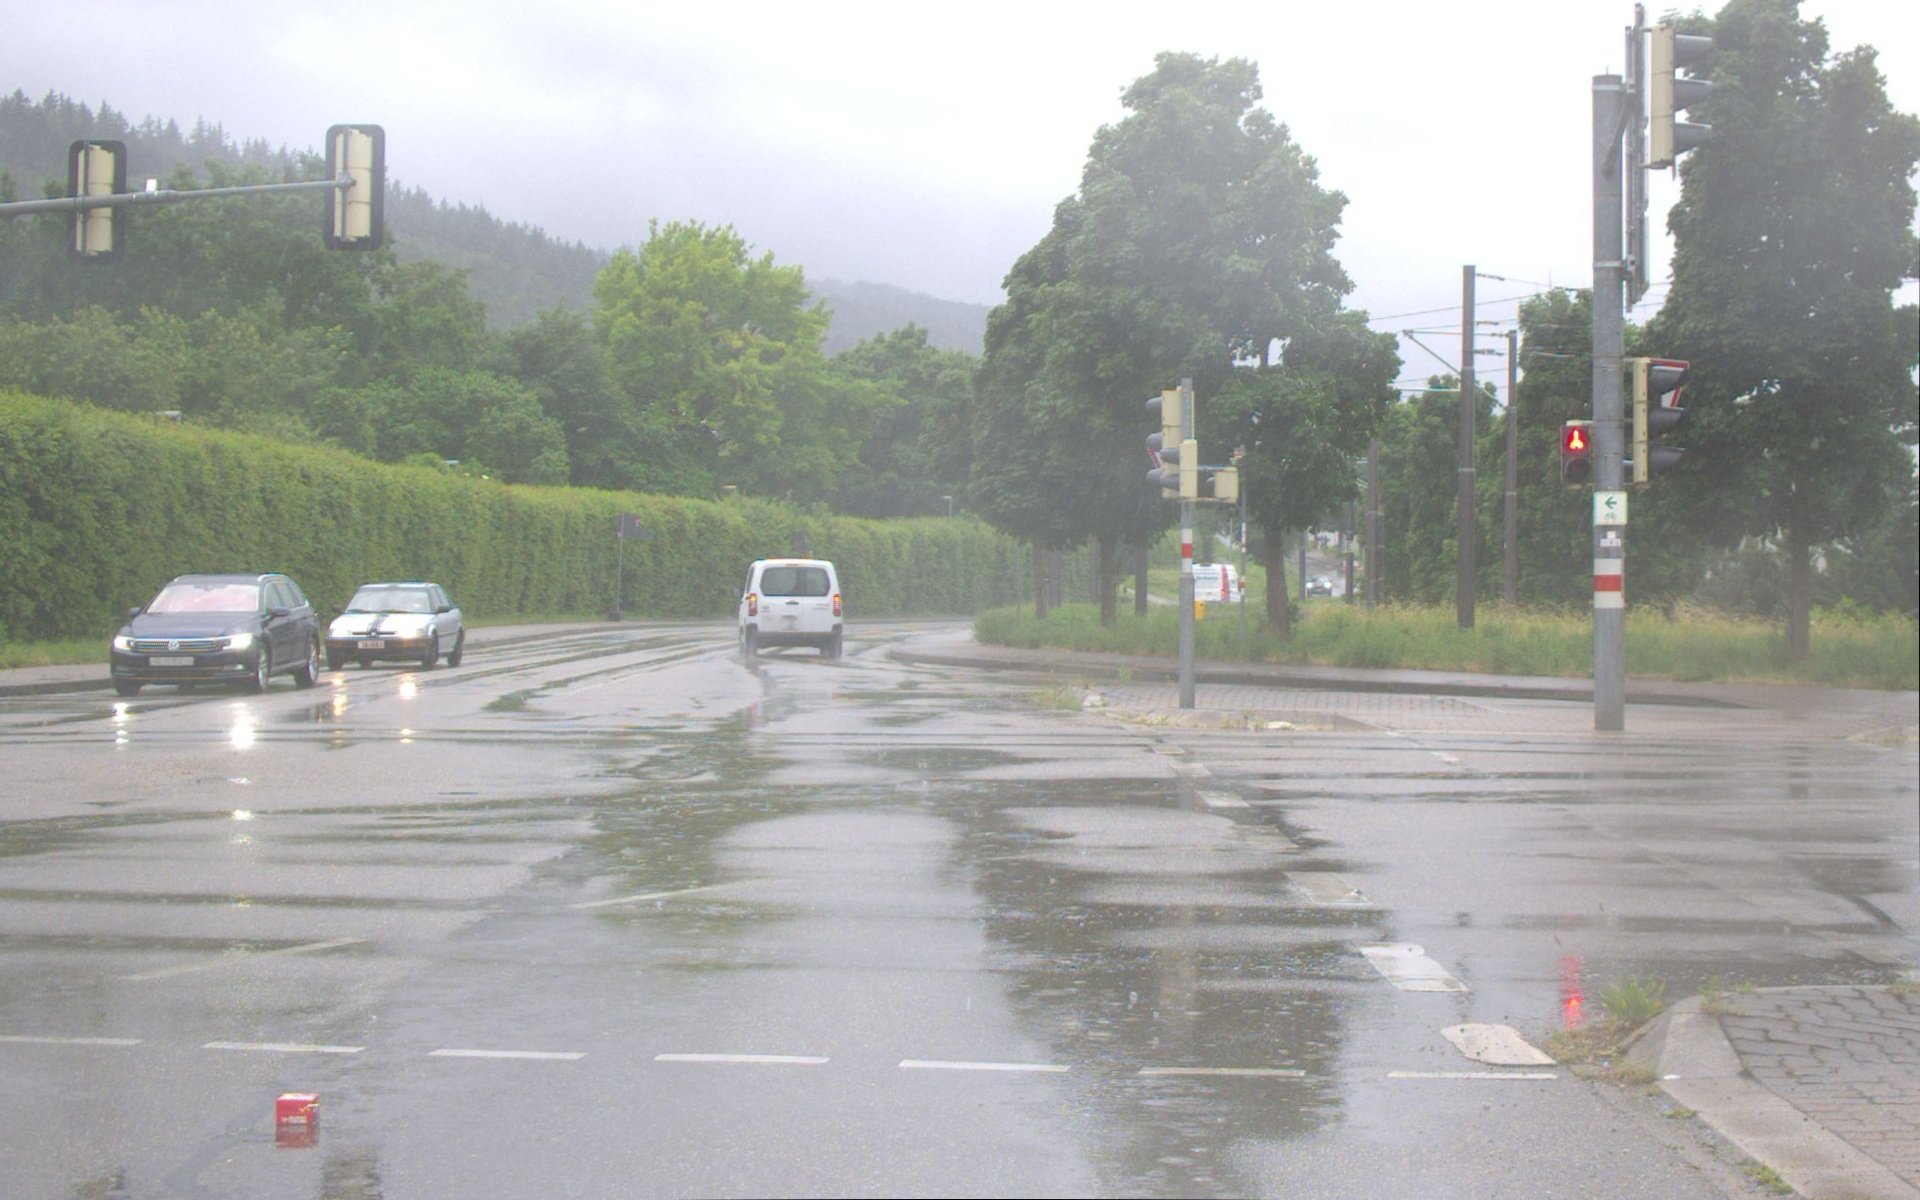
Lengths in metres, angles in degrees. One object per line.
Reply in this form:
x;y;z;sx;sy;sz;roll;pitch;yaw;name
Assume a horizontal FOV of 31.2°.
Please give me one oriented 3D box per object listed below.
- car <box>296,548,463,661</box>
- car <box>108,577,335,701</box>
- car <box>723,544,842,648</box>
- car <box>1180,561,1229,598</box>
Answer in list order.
-9.306;0.042;55.388;2.036;1.702;4.066;1;1;-1;car
-9.278;0.454;43.527;1.709;1.461;4.452;0;1;3;car
-3.364;-0.107;64.452;1.953;1.897;4.121;0;1;-7;car
12.946;-1.098;181.913;1.933;1.883;4.059;0;1;14;car
